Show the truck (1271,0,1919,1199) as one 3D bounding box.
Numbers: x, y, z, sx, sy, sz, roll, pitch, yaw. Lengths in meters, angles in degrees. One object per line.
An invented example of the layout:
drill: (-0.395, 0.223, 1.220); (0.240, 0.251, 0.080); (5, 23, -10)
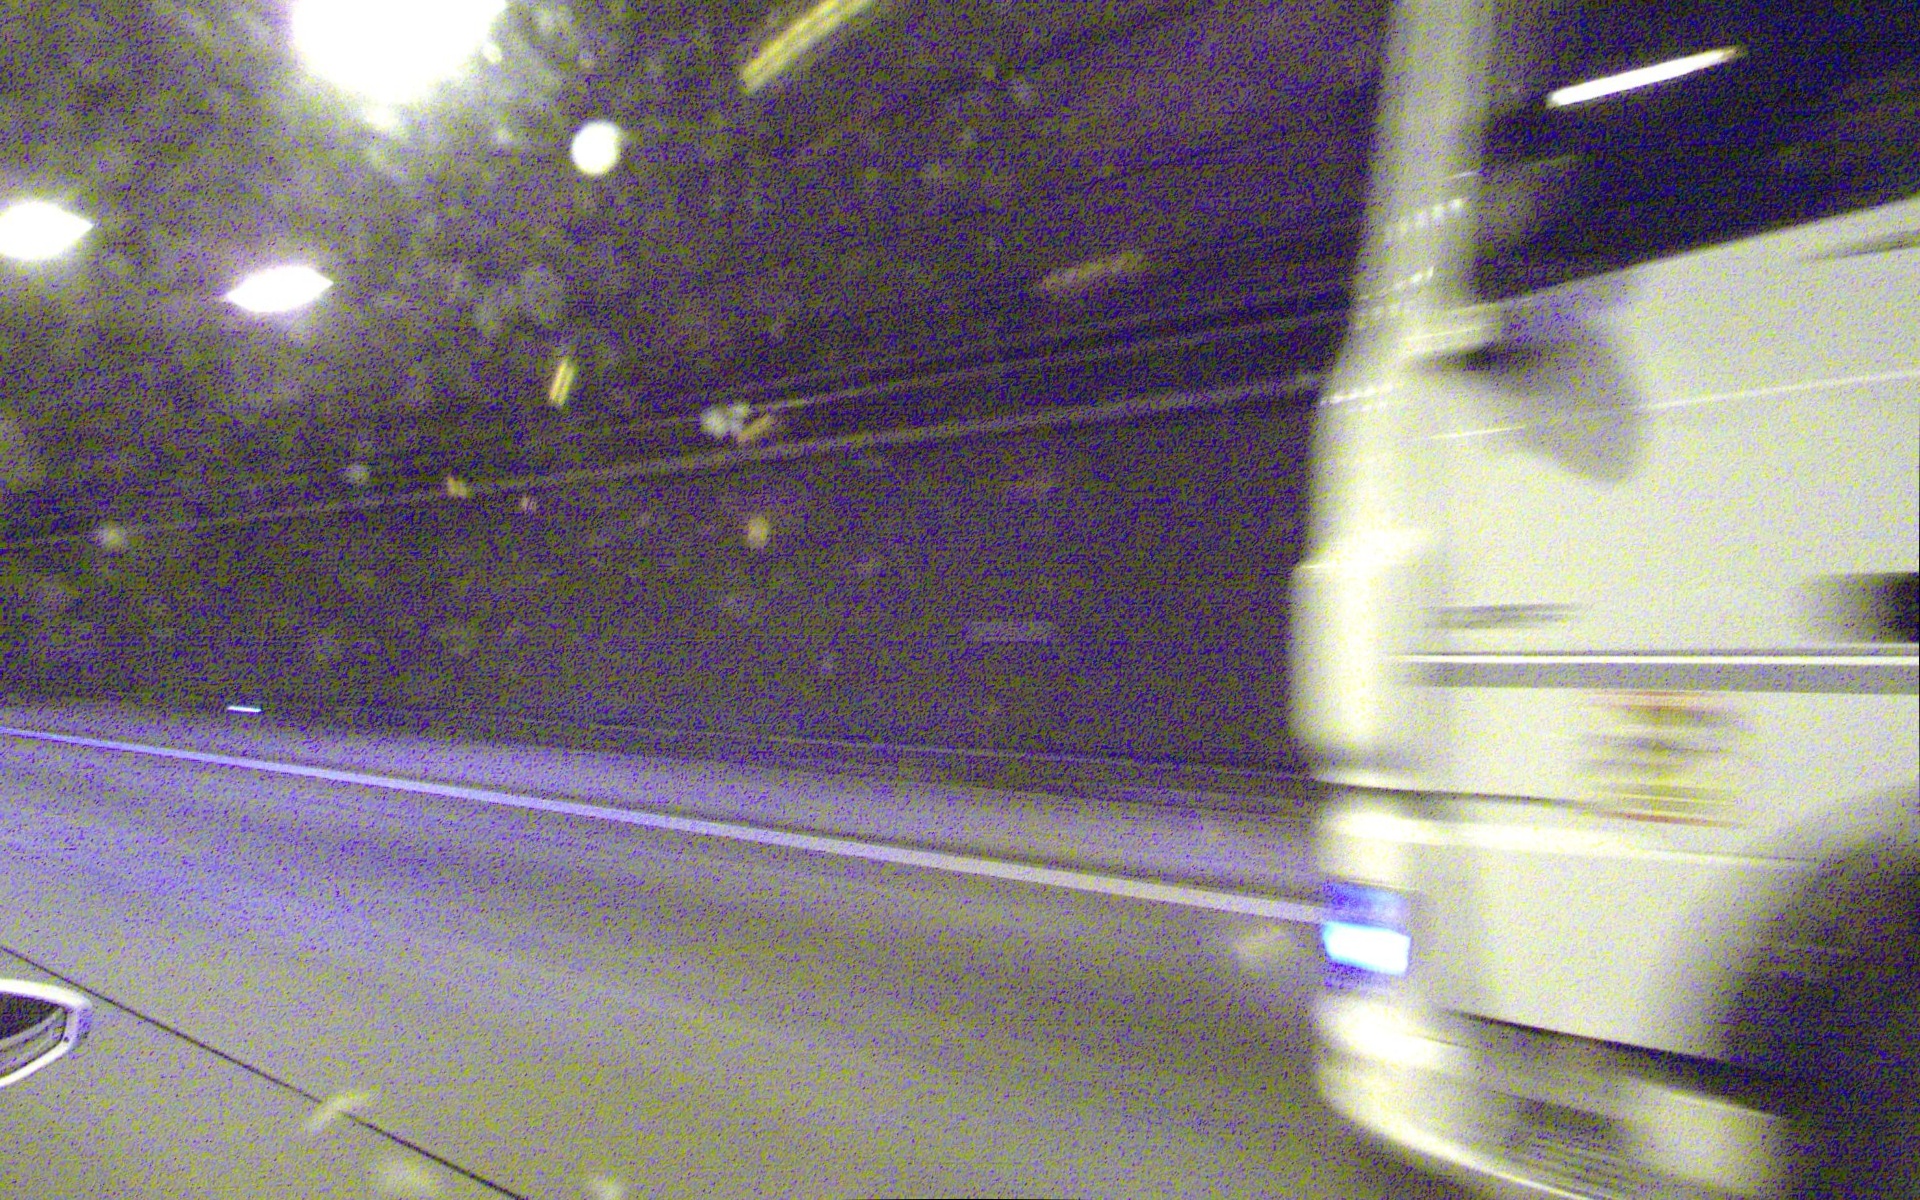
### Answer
truck: (3.844, -0.571, 1.652); (5.919, 4.216, 2.642); (-1, -2, 32)
